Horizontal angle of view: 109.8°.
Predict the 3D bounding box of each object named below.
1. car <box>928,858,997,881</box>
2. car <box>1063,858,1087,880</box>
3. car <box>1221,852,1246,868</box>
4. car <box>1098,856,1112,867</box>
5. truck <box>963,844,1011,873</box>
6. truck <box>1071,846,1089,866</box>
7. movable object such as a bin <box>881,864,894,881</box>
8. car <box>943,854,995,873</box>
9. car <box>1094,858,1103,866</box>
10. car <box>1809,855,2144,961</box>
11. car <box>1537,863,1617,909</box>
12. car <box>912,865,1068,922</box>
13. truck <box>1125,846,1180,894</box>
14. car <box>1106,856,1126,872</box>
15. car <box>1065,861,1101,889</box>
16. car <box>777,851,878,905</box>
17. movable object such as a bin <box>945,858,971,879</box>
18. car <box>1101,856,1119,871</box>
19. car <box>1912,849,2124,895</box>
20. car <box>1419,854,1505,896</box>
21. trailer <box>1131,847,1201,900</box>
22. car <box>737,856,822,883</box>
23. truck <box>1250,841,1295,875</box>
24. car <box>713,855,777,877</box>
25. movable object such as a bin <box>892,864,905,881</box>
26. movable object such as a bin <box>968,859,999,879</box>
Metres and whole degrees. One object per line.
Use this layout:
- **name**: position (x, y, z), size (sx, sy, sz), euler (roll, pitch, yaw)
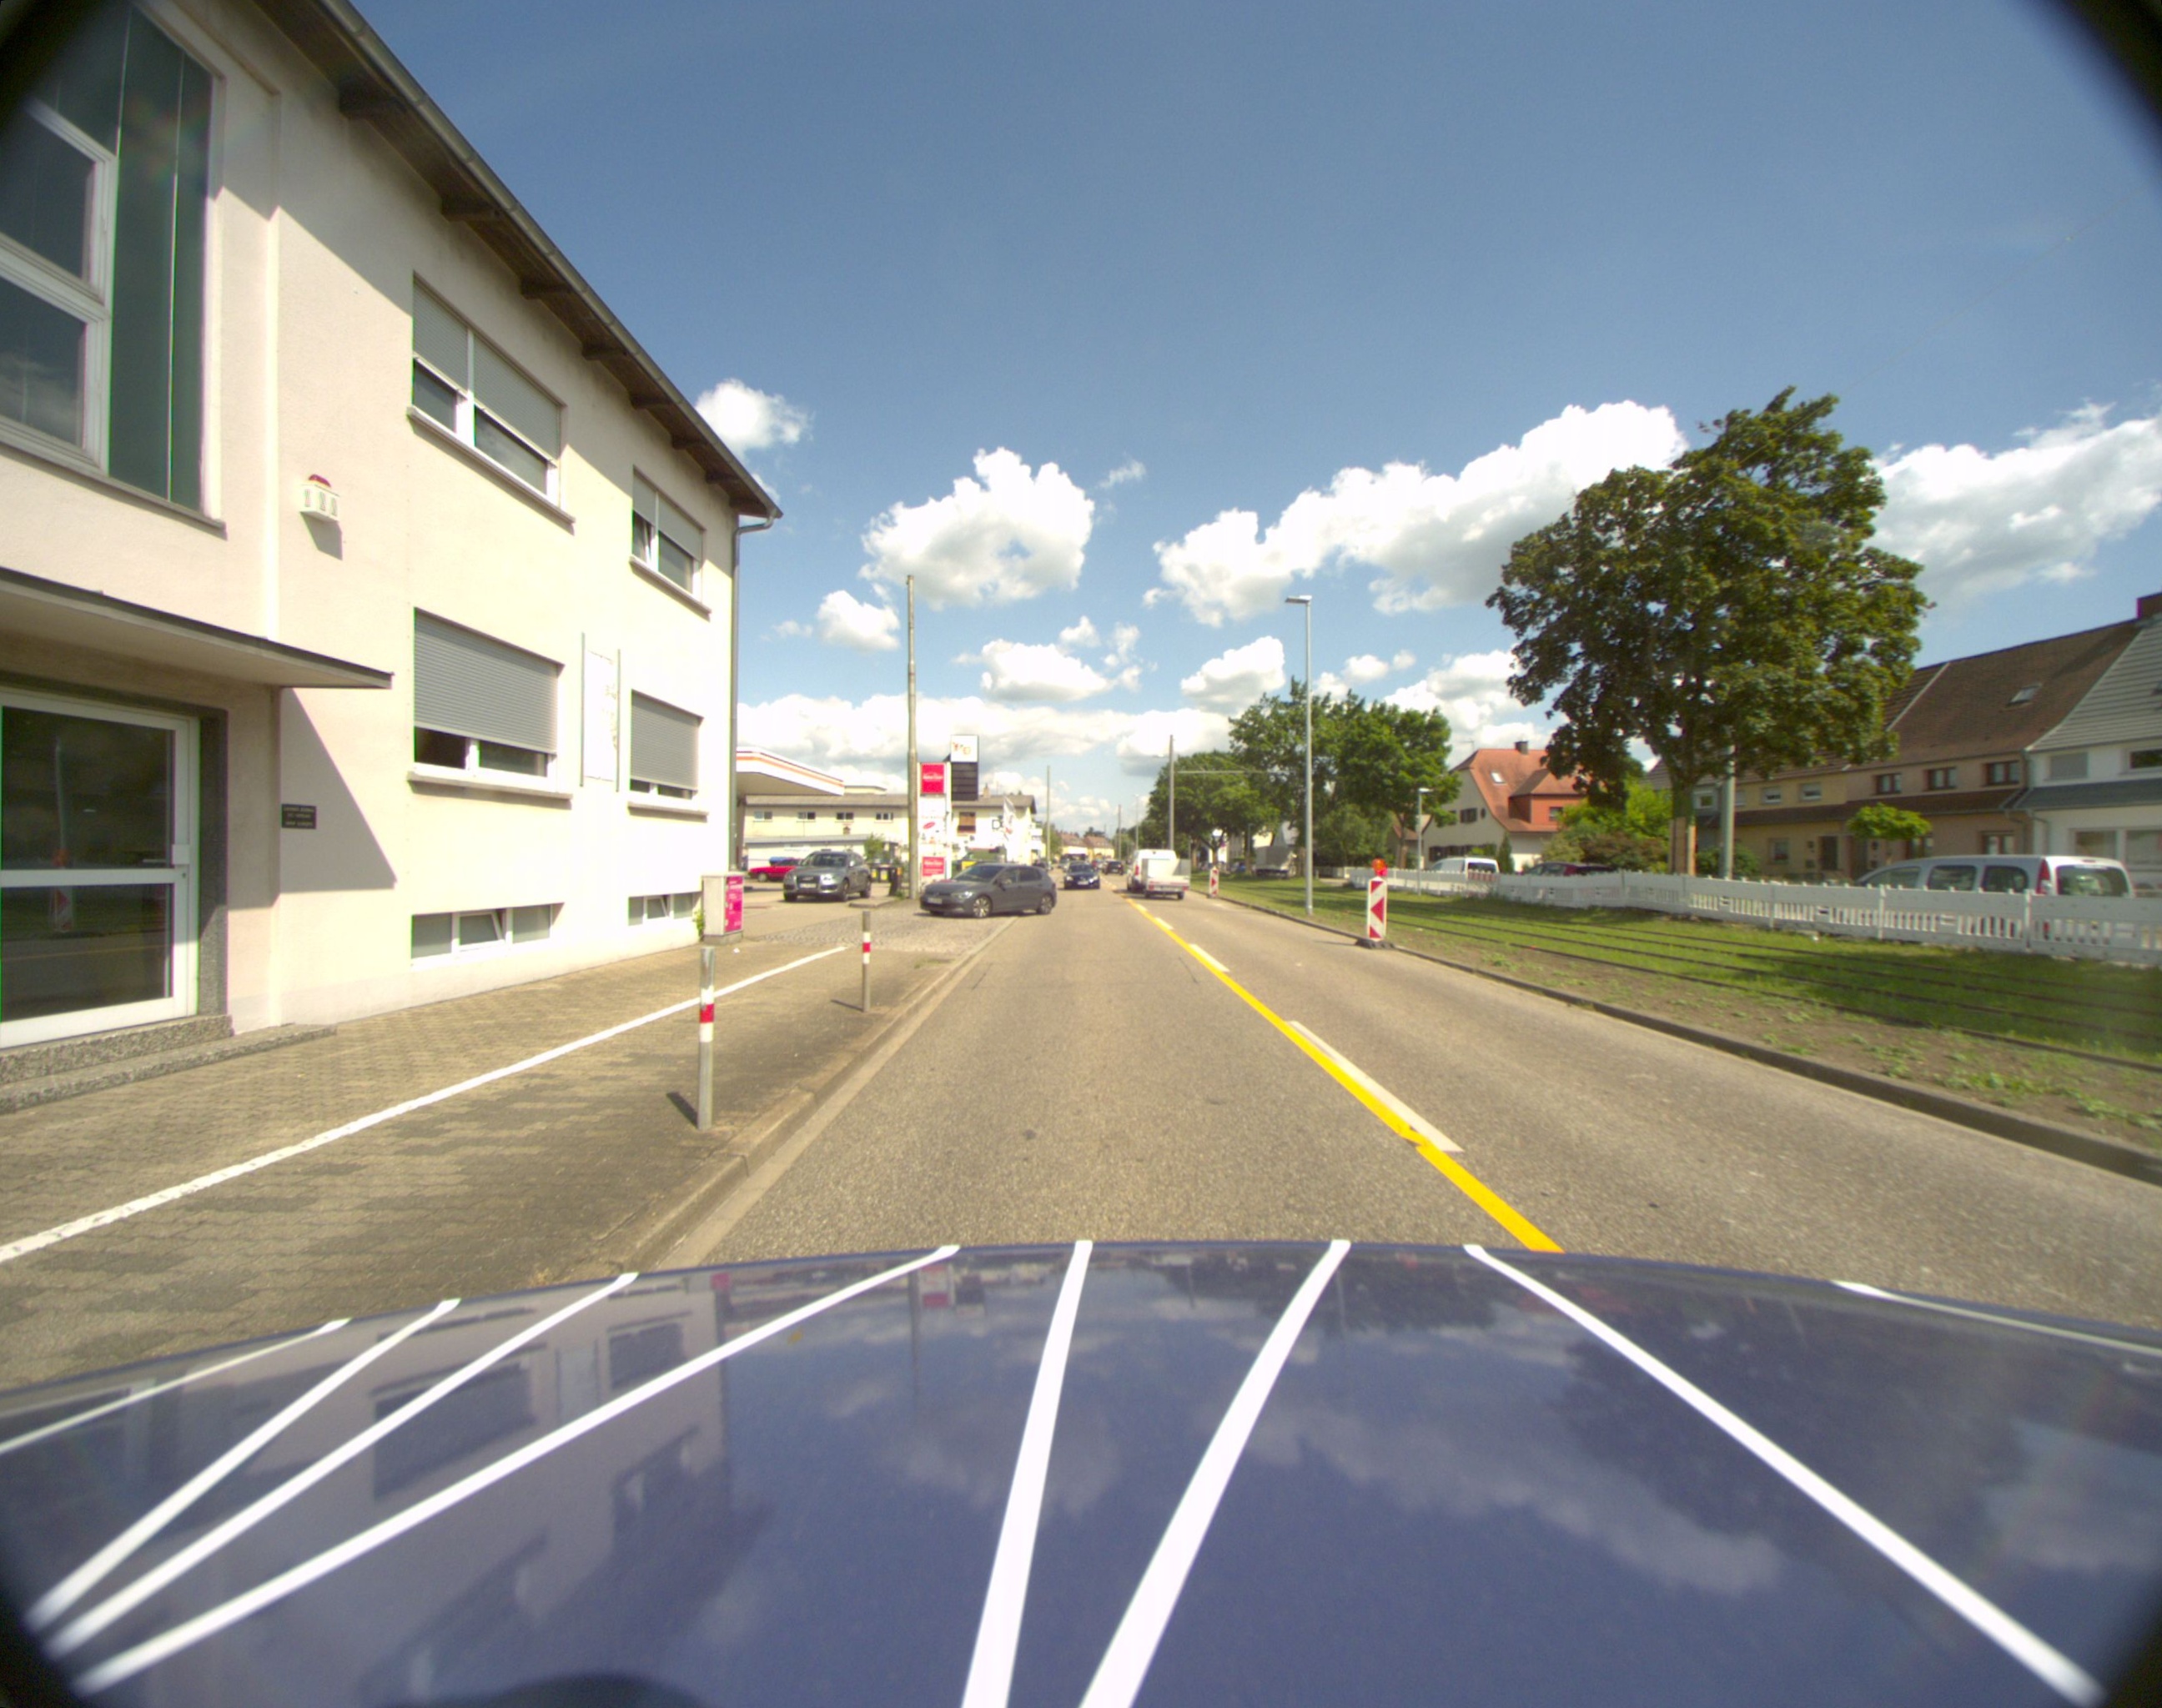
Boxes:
- **car**: position (-7.538, 0.982, 48.698), size (4.061, 1.400, 1.648), euler (0, 1, 6)
- **car**: position (-0.372, 1.040, 53.350), size (1.594, 1.418, 3.707), euler (-2, 1, 0)
- **car**: position (15.163, 0.565, 75.847), size (1.672, 1.504, 3.930), euler (-2, 1, 0)
- **car**: position (3.529, 1.094, 112.677), size (1.826, 1.436, 4.483), euler (2, 0, -1)
- **truck**: position (-8.877, 0.412, 72.004), size (4.181, 2.645, 2.108), euler (-2, 1, 1)
- **truck**: position (-0.123, 0.278, 118.041), size (2.632, 2.871, 7.923), euler (-2, 1, 1)
- **movable object such as a bin**: position (-11.673, 1.116, 45.825), size (0.582, 1.004, 0.706), euler (-2, 1, -1)
- **car**: position (-9.113, 0.748, 61.842), size (3.902, 1.454, 1.627), euler (0, 1, 16)
- **car**: position (3.457, 1.482, 148.824), size (1.582, 1.461, 3.720), euler (2, 1, 0)
- **car**: position (16.316, 0.881, 14.209), size (1.626, 1.642, 3.898), euler (1, 1, 0)
- **car**: position (15.956, 0.982, 24.563), size (1.075, 1.340, 2.449), euler (1, 1, 4)
- **car**: position (-2.357, 1.020, 20.820), size (1.739, 1.409, 4.391), euler (-1, -1, 36)
- **truck**: position (3.105, 0.657, 34.028), size (1.825, 1.898, 5.115), euler (2, 1, -1)
- **car**: position (3.453, 0.959, 74.950), size (1.697, 1.404, 3.859), euler (2, 1, -1)
- **car**: position (0.122, 1.055, 39.149), size (1.732, 1.259, 3.999), euler (-2, 1, 0)
- **car**: position (-8.332, 0.723, 25.425), size (1.951, 1.615, 4.614), euler (1, 0, -2)
- **movable object such as a bin**: position (-8.816, 1.013, 54.463), size (1.536, 1.402, 1.765), euler (-2, 1, -1)
- **car**: position (3.413, 1.062, 89.417), size (1.829, 1.656, 4.461), euler (1, 1, 0)
- **car**: position (29.131, 0.504, 23.865), size (1.537, 1.267, 4.120), euler (1, 1, 0)
- **car**: position (16.205, 0.845, 32.562), size (1.657, 1.616, 4.000), euler (1, 1, 0)
- **trailer**: position (3.246, 0.697, 30.159), size (2.067, 1.825, 5.484), euler (2, 1, 0)
- **car**: position (-17.332, 0.860, 43.761), size (4.144, 1.416, 1.771), euler (1, 1, 1)
- **truck**: position (16.369, 0.299, 65.240), size (2.371, 2.789, 5.950), euler (-2, 1, 0)
- **car**: position (-20.837, 0.736, 47.179), size (3.310, 1.218, 1.487), euler (1, 1, 1)
- **movable object such as a bin**: position (-11.012, 1.097, 45.810), size (0.582, 1.004, 0.706), euler (-2, 1, -1)
- **movable object such as a bin**: position (-7.046, 1.083, 55.094), size (1.968, 1.339, 1.708), euler (-2, 1, -1)
